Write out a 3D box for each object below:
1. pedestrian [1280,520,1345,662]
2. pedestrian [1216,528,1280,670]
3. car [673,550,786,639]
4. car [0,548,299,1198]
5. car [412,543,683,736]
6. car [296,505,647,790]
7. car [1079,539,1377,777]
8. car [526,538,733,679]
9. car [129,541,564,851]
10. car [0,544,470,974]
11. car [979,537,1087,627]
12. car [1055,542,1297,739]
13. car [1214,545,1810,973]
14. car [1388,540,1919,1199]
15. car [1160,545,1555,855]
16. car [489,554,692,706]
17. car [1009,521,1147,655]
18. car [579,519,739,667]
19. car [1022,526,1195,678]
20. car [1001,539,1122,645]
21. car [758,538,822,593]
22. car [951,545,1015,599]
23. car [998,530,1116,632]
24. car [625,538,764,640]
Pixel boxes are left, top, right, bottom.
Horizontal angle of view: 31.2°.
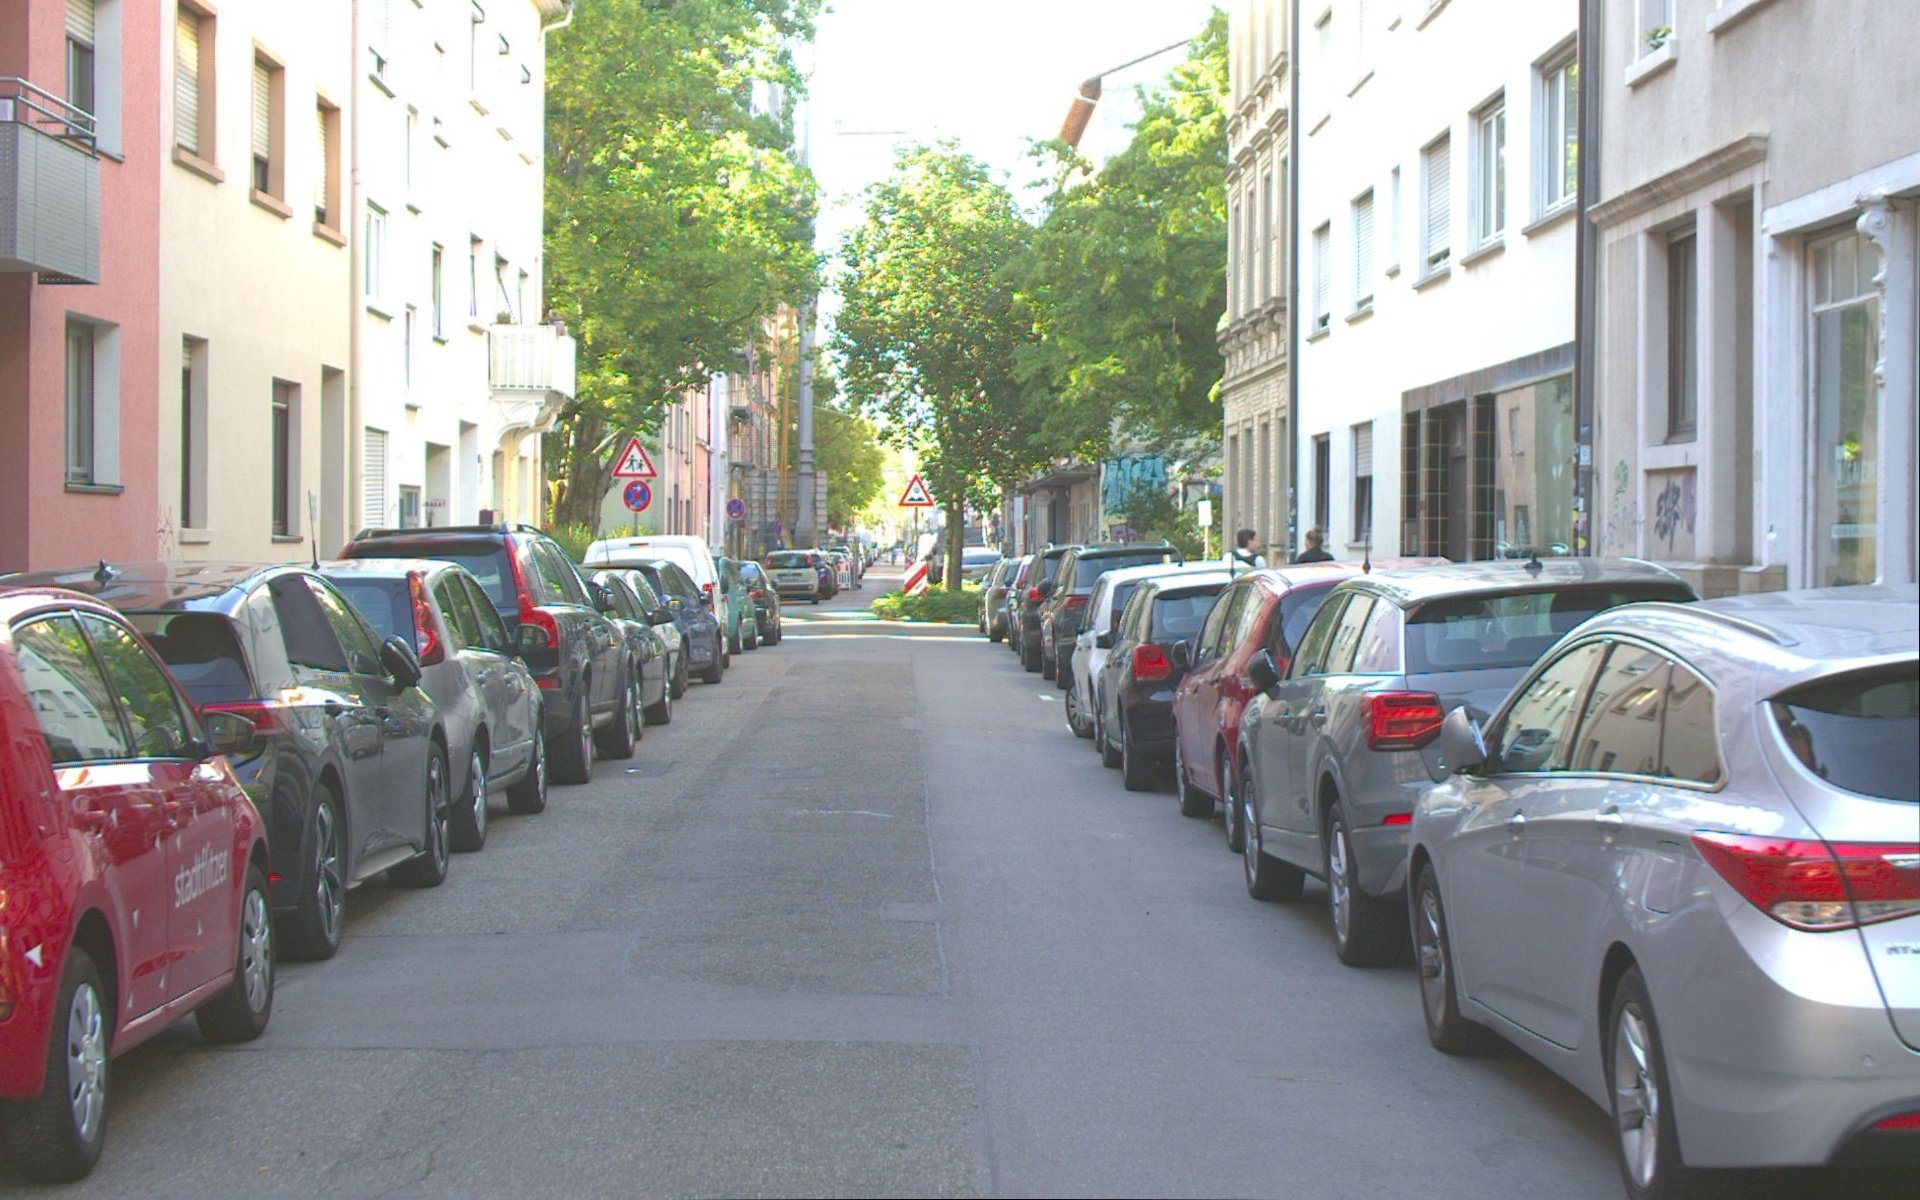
[{"bbox_3d":[4.150,-0.111,40.519,0.685,1.654,0.717,0,1,-1],"label":"pedestrian"},{"bbox_3d":[3.386,-0.015,40.457,0.685,1.654,0.717,0,1,-1],"label":"pedestrian"},{"bbox_3d":[-3.801,-0.118,57.159,1.670,1.356,4.049,-1,1,-1],"label":"car"},{"bbox_3d":[-3.002,0.621,9.713,1.628,1.476,3.601,-1,1,-1],"label":"car"},{"bbox_3d":[-3.507,0.287,29.944,1.743,1.501,4.346,-1,1,1],"label":"car"},{"bbox_3d":[-3.377,0.257,24.586,1.743,1.805,4.672,-1,1,1],"label":"car"},{"bbox_3d":[1.815,0.341,24.395,1.675,1.501,3.938,-1,1,-2],"label":"car"},{"bbox_3d":[-3.727,0.058,39.376,1.673,1.481,3.991,-1,1,4],"label":"car"},{"bbox_3d":[-3.327,0.451,19.348,1.656,1.516,3.944,-1,1,1],"label":"car"},{"bbox_3d":[-3.252,0.552,14.519,1.695,1.516,4.096,-1,1,1],"label":"car"},{"bbox_3d":[1.256,-0.345,60.492,1.675,1.482,4.095,-1,1,-2],"label":"car"},{"bbox_3d":[1.768,0.288,29.226,1.675,1.501,3.938,-1,1,-2],"label":"car"},{"bbox_3d":[2.163,0.547,14.529,1.744,1.501,4.021,-1,1,-2],"label":"car"},{"bbox_3d":[2.375,0.614,9.337,1.744,1.501,4.358,-1,1,-2],"label":"car"},{"bbox_3d":[2.119,0.470,19.349,1.598,1.501,4.185,-1,1,-2],"label":"car"},{"bbox_3d":[-3.697,0.262,34.985,1.673,1.383,4.182,-1,1,-1],"label":"car"},{"bbox_3d":[1.540,-0.161,46.026,1.676,1.676,4.094,-1,0,0],"label":"car"},{"bbox_3d":[-3.801,-0.130,43.997,1.765,1.779,4.039,-1,1,-2],"label":"car"},{"bbox_3d":[1.723,-0.012,41.066,1.676,1.621,4.251,-3,1,-2],"label":"car"},{"bbox_3d":[1.487,-0.145,51.376,1.566,1.478,3.619,-1,1,-2],"label":"car"},{"bbox_3d":[-4.827,-0.988,98.023,1.675,1.482,4.095,-1,1,-2],"label":"car"},{"bbox_3d":[0.650,-0.828,99.388,1.675,1.482,3.638,-1,1,-2],"label":"car"},{"bbox_3d":[1.539,-0.329,55.589,1.675,1.556,3.796,-1,1,-2],"label":"car"},{"bbox_3d":[-4.037,-0.196,52.782,1.670,1.464,3.820,-1,1,2],"label":"car"}]
